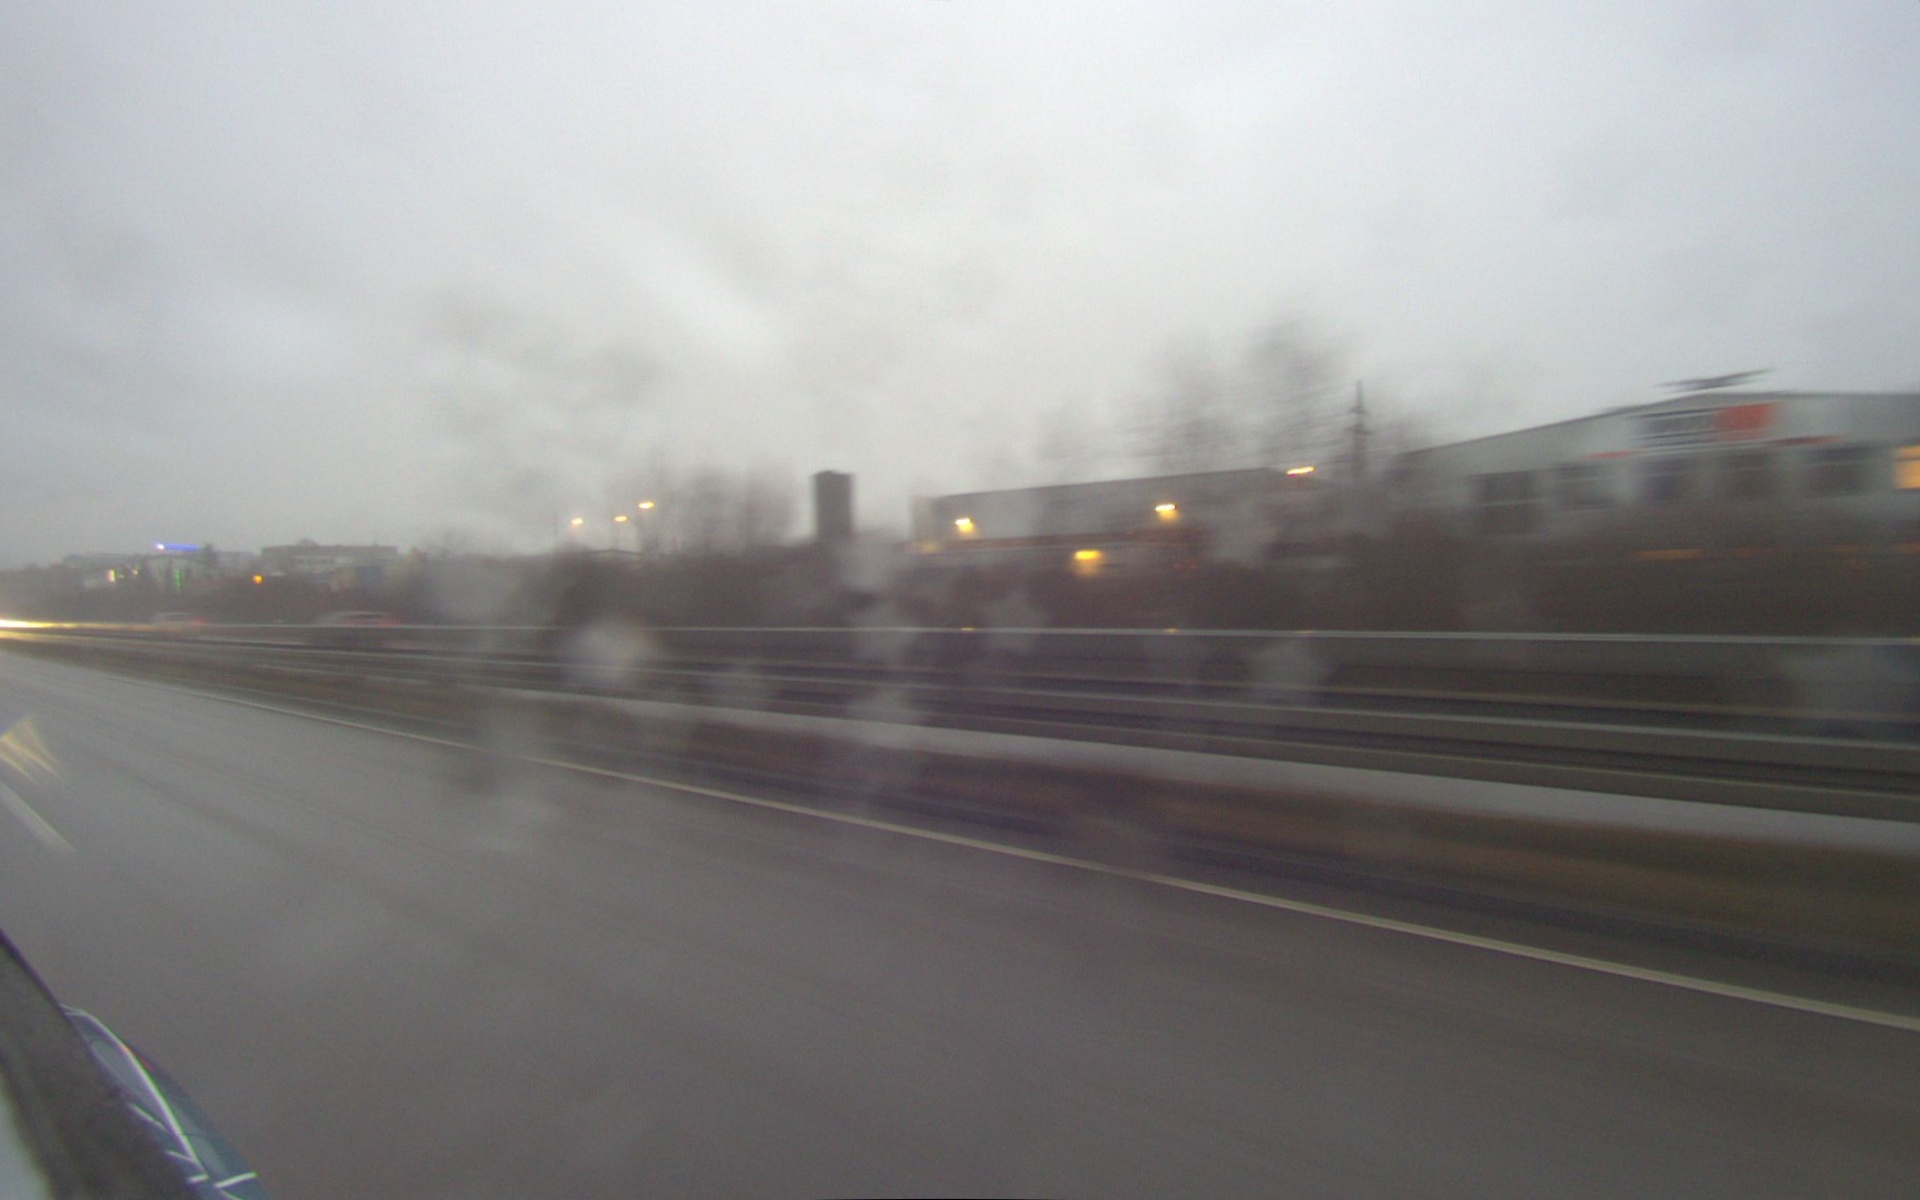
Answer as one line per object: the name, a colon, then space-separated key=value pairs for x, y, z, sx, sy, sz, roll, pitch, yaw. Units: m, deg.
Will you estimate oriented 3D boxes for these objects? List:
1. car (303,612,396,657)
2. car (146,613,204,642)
car: x=-22.076 y=1.205 z=36.531 sx=4.364 sy=1.486 sz=1.685 roll=-1 pitch=0 yaw=42
car: x=-41.734 y=1.422 z=53.749 sx=4.364 sy=1.486 sz=1.685 roll=-1 pitch=0 yaw=42
